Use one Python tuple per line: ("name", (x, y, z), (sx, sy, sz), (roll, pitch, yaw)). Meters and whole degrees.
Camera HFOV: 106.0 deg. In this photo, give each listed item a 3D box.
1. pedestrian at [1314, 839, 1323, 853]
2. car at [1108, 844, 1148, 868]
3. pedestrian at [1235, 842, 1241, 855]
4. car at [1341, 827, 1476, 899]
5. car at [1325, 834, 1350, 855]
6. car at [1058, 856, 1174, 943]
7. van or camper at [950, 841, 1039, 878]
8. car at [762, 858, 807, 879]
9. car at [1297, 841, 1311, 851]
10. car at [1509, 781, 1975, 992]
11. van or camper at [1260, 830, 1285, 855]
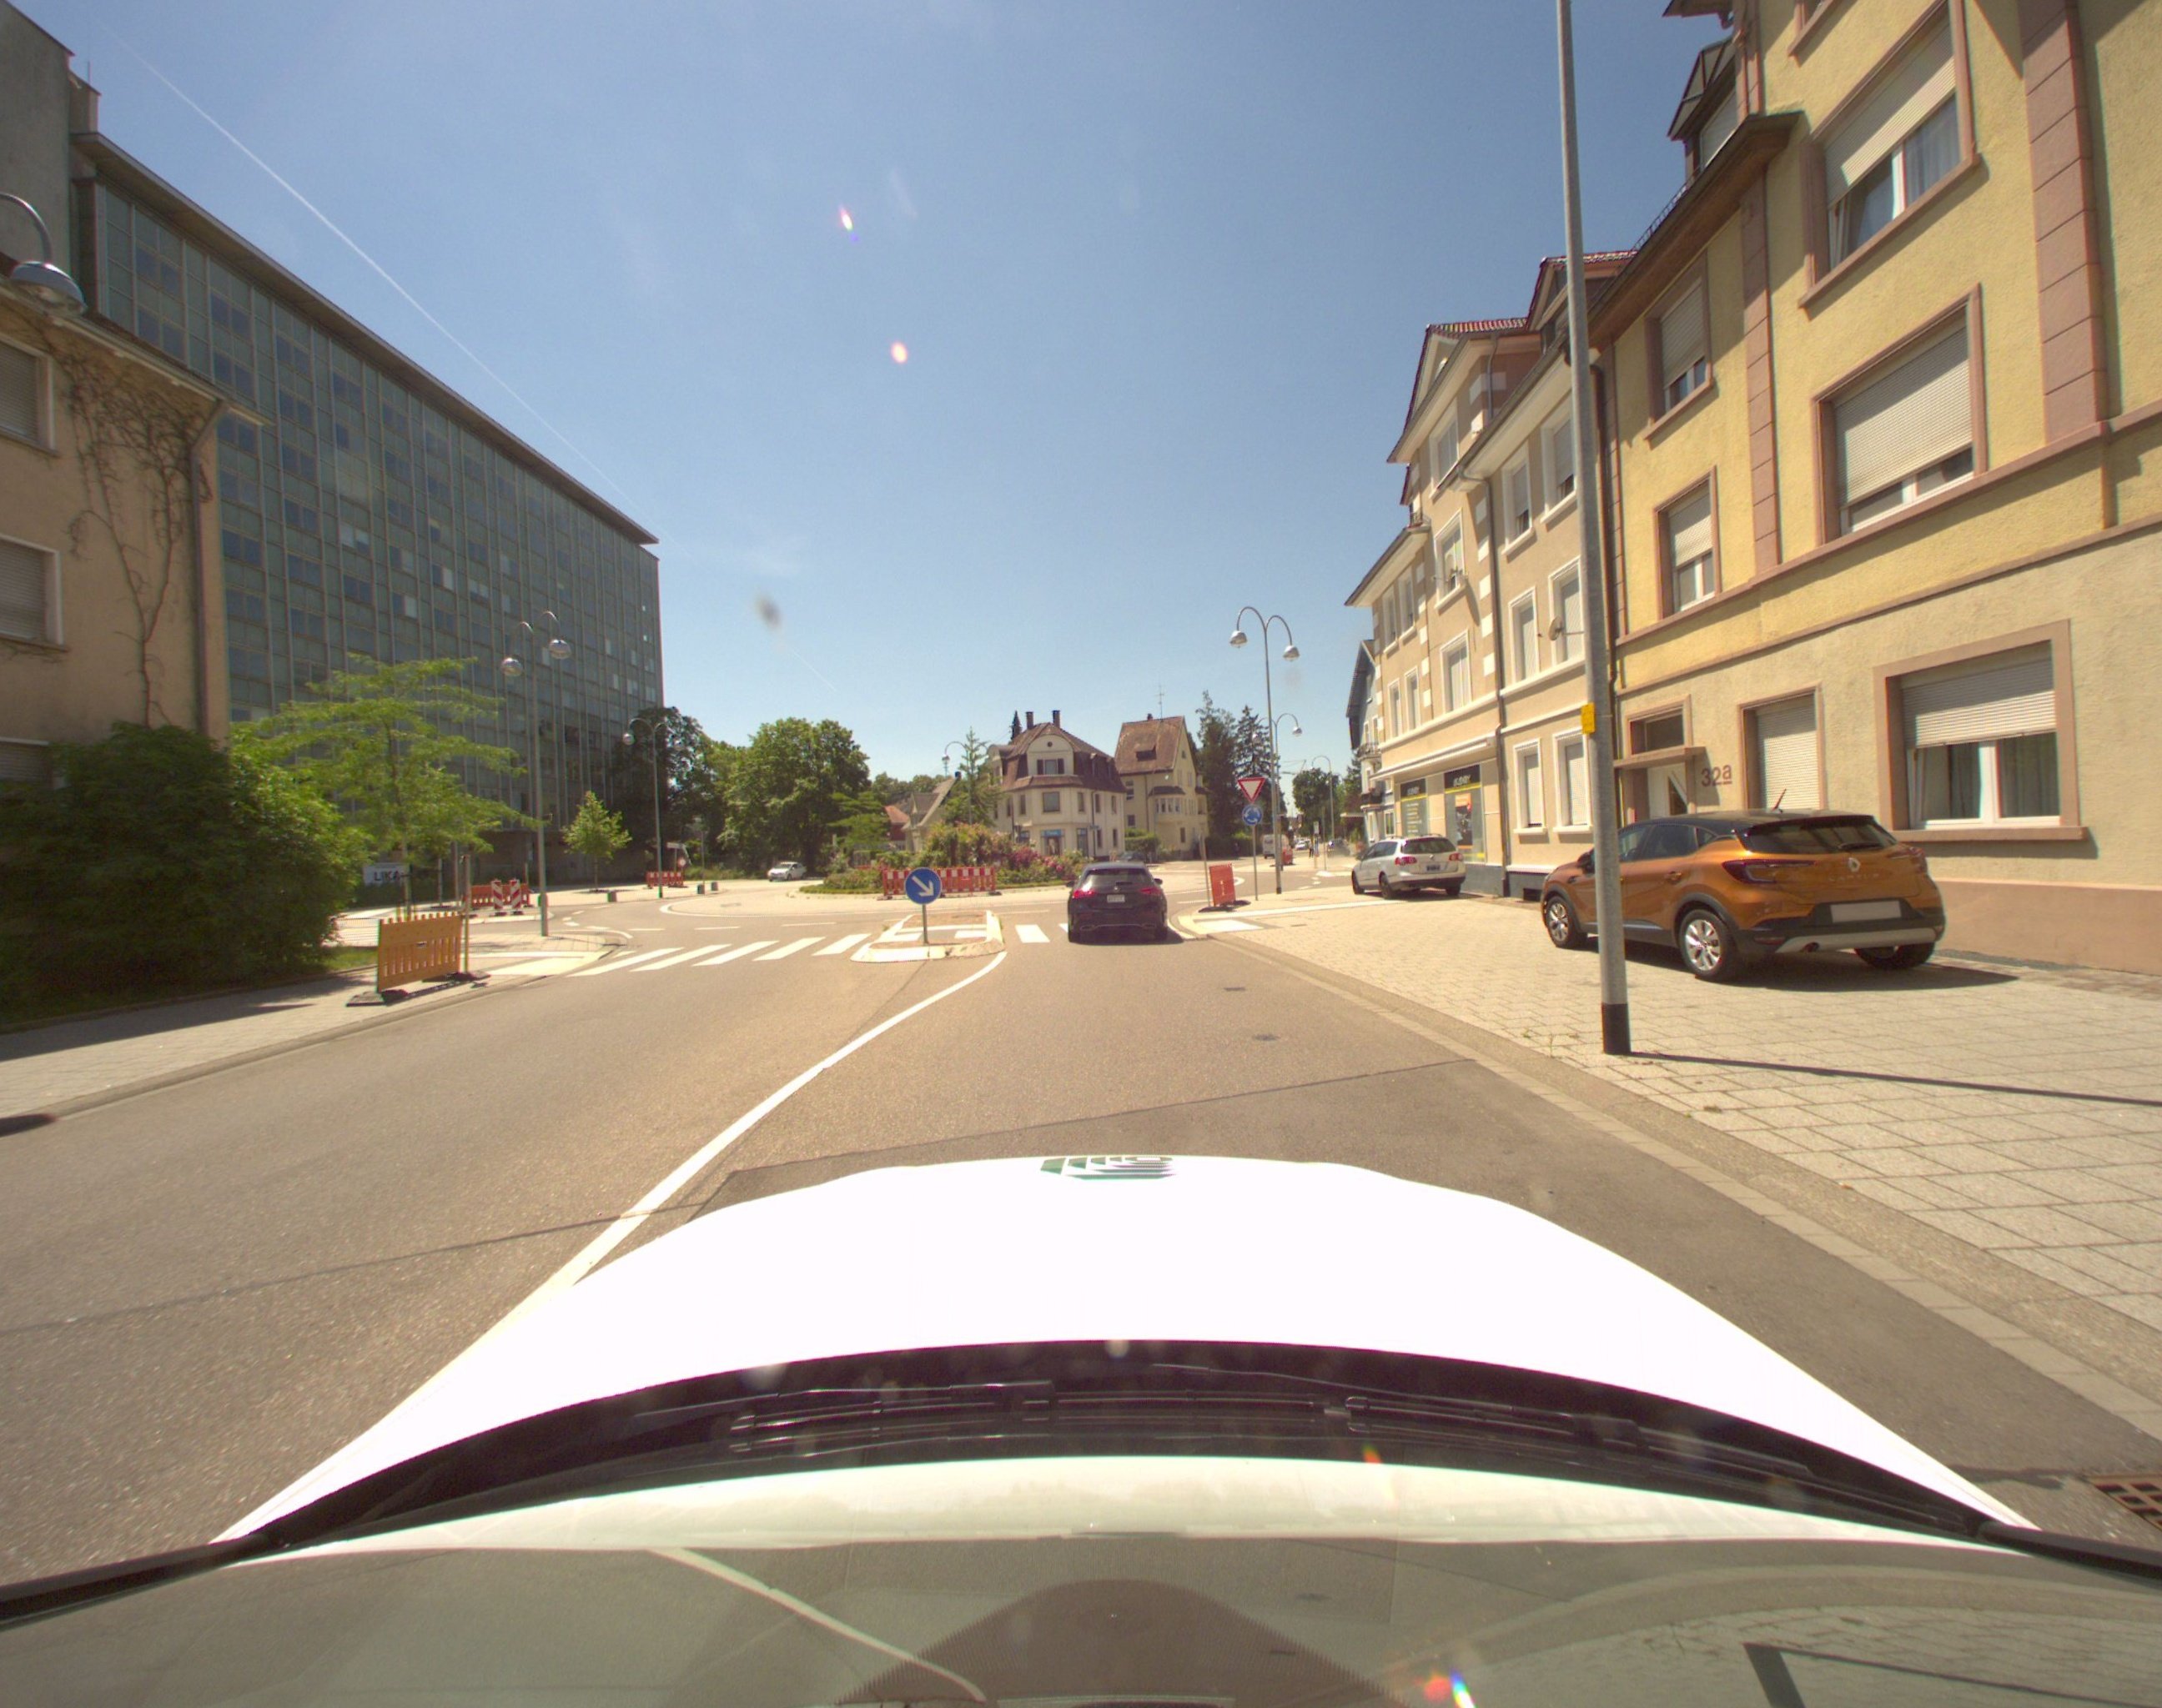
("pedestrian", (23.260, -0.776, 79.784), (0.660, 1.286, 0.591), (-6, -1, 28))
("car", (3.670, 0.114, 63.007), (1.904, 1.772, 4.021), (-1, 0, 20))
("pedestrian", (19.341, -0.647, 100.100), (0.518, 1.509, 0.476), (-2, 0, 27))
("car", (8.212, 0.212, 20.917), (1.757, 1.530, 4.694), (-4, 0, 3))
("car", (21.754, -0.810, 69.002), (1.626, 1.507, 3.582), (-6, 0, 21))
("car", (0.643, 0.791, 15.922), (1.946, 1.427, 4.001), (-2, -1, 1))
("van or camper", (-5.588, 0.335, 52.849), (5.436, 2.171, 1.978), (-2, 0, -36))
("car", (-23.998, 1.221, 66.029), (1.774, 1.597, 3.929), (-2, -2, 9))
("car", (38.783, -1.427, 141.849), (1.977, 1.651, 4.020), (-2, 0, 19))
("car", (6.633, 0.265, 8.956), (1.665, 1.619, 4.367), (-5, 0, 4))
("van or camper", (21.006, -1.287, 89.111), (2.187, 2.610, 4.020), (-2, 0, 19))
